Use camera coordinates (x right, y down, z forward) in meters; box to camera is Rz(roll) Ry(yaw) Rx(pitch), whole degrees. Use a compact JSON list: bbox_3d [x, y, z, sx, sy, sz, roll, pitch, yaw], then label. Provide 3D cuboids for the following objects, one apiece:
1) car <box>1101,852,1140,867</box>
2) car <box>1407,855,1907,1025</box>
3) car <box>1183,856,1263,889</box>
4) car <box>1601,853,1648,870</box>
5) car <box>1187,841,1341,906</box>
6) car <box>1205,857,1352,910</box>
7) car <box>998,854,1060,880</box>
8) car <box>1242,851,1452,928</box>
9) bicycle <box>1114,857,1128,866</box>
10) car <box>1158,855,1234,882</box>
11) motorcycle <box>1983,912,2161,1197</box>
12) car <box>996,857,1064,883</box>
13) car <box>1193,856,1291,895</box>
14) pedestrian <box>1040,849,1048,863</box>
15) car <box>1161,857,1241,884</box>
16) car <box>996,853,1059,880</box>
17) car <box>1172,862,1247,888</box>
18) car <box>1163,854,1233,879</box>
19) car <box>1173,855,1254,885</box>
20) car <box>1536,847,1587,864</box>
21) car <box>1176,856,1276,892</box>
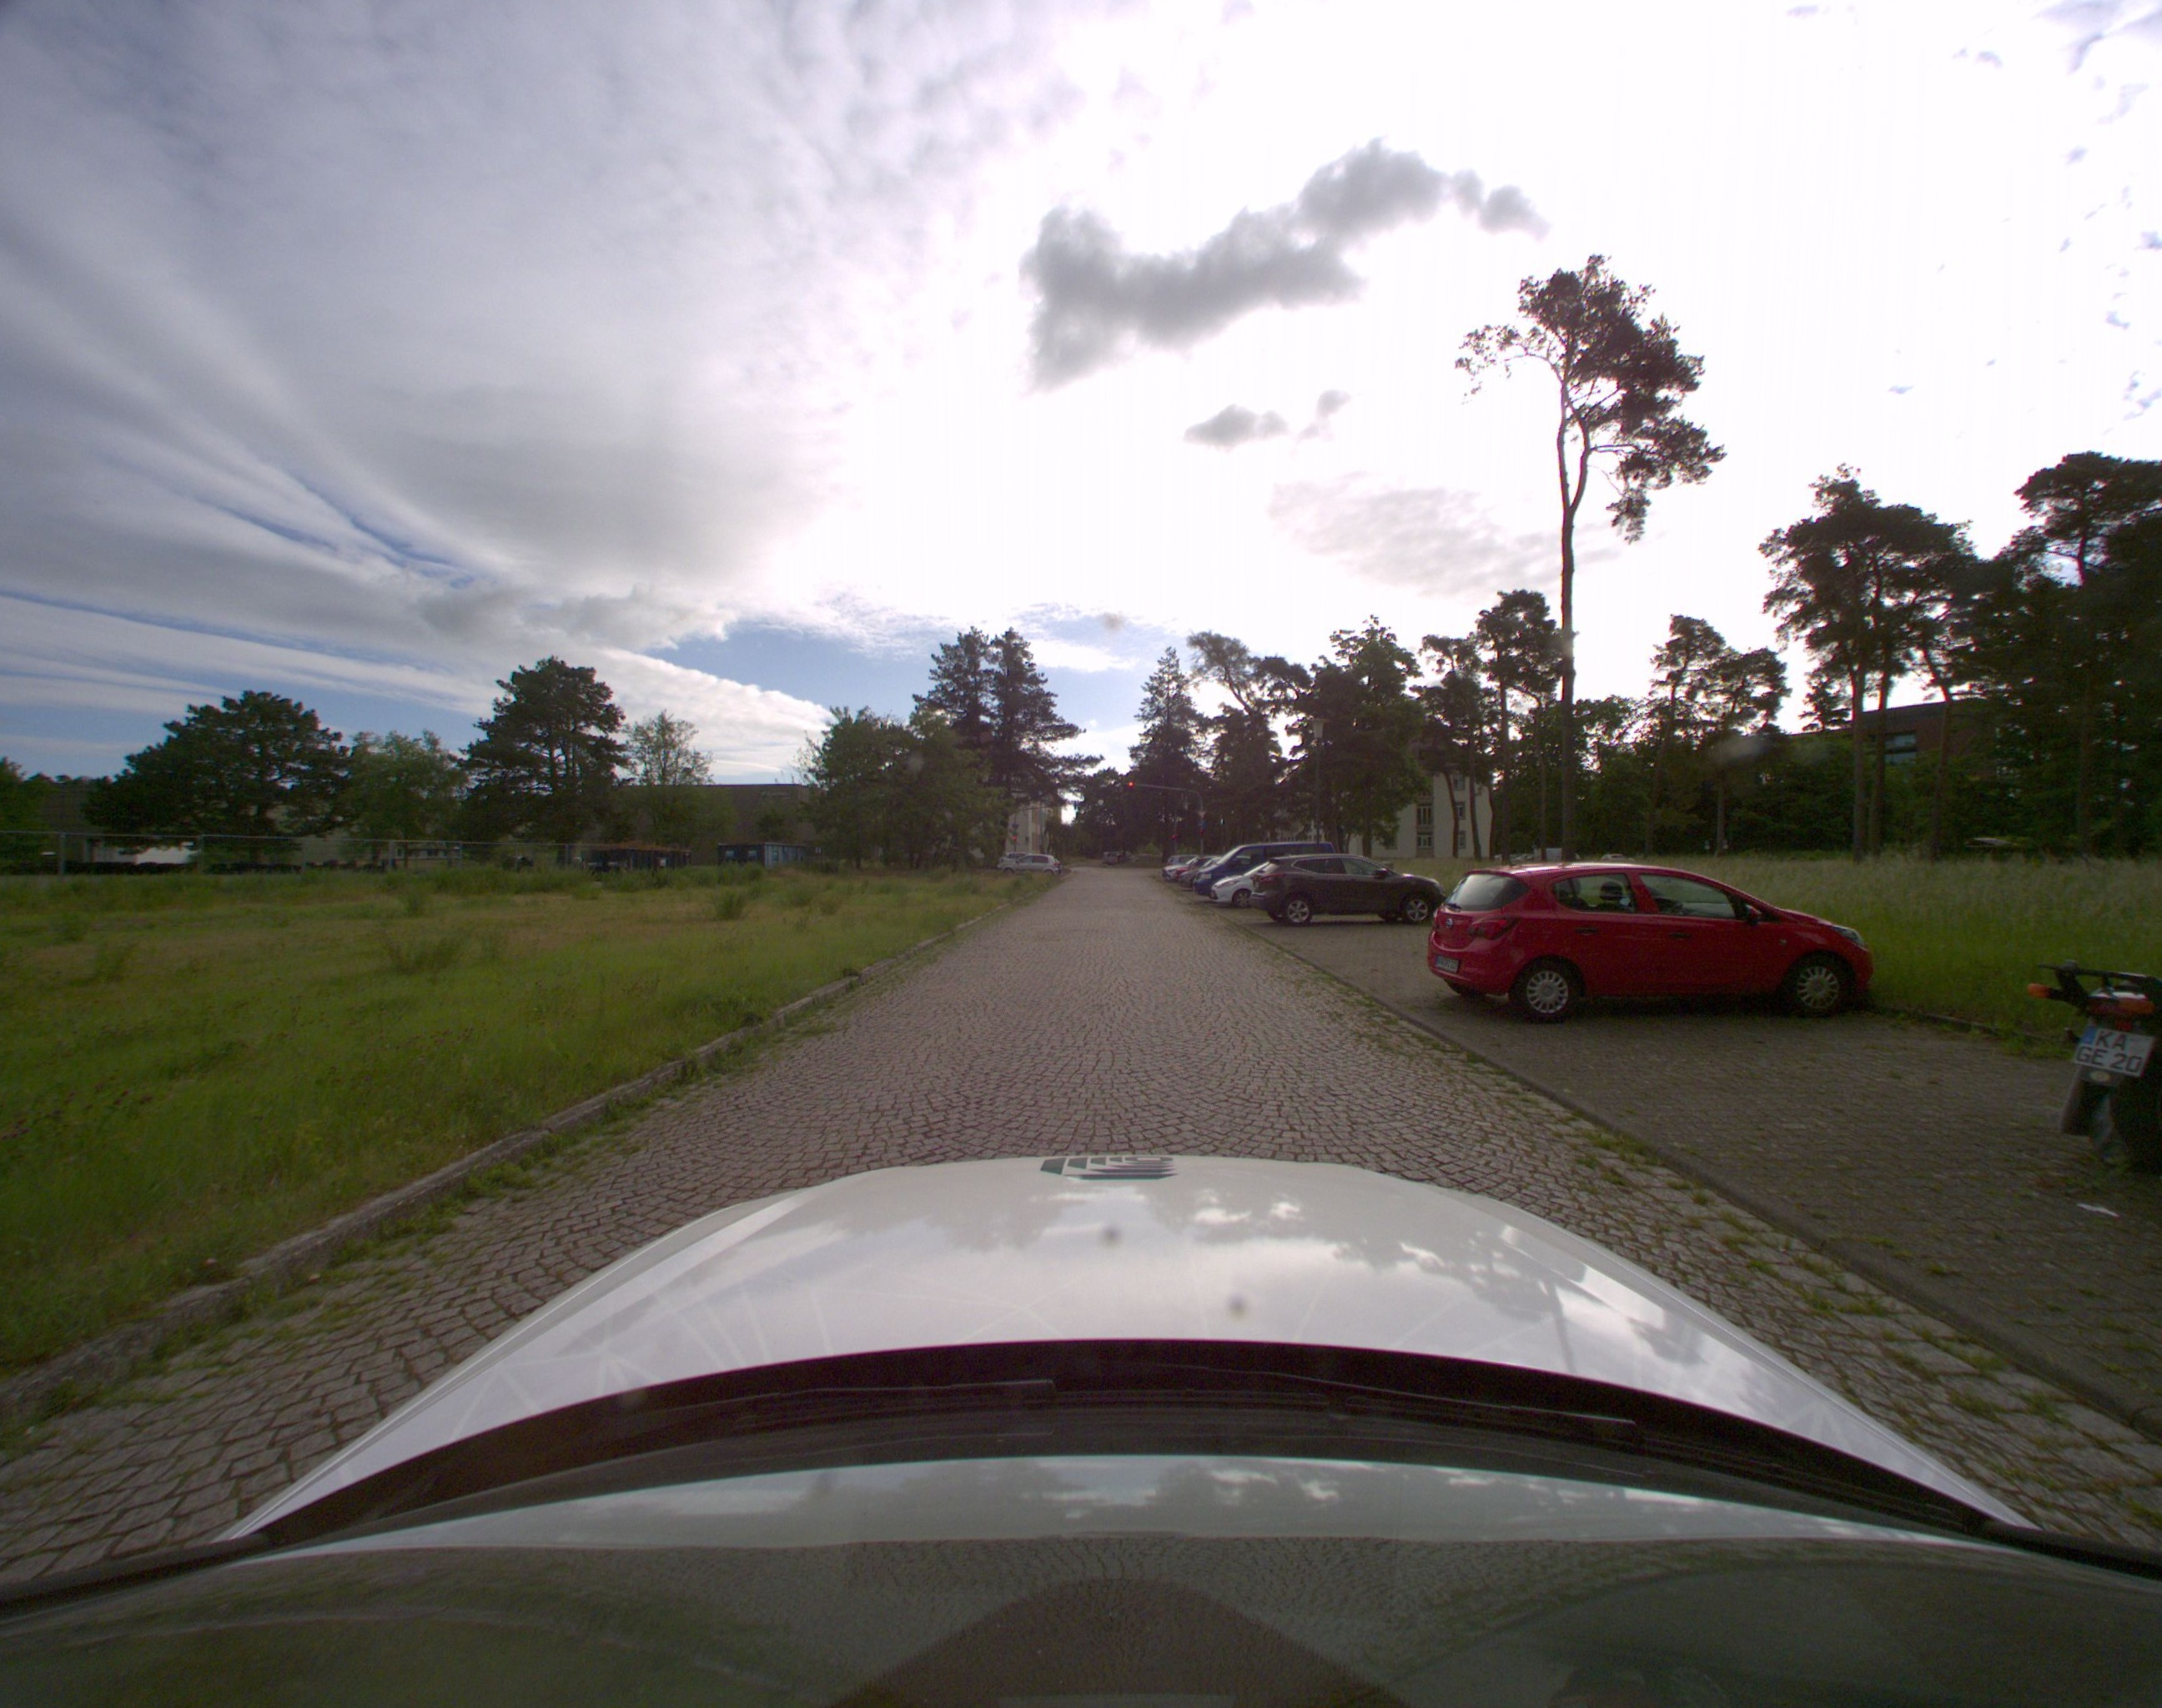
[{"bbox_3d":[5.732,0.833,118.344,5.377,2.101,2.171,0,0,-11],"label":"car"},{"bbox_3d":[5.675,0.793,8.410,3.910,1.496,1.785,-1,0,0],"label":"car"},{"bbox_3d":[6.714,0.858,38.694,3.492,1.487,1.743,-1,0,1],"label":"car"},{"bbox_3d":[61.649,0.837,92.434,4.115,1.804,1.902,1,0,3],"label":"car"},{"bbox_3d":[6.122,0.634,27.620,4.780,2.004,1.966,-1,0,0],"label":"car"},{"bbox_3d":[6.010,0.876,25.075,4.086,1.479,1.721,-1,0,-2],"label":"car"},{"bbox_3d":[-3.198,0.785,50.655,3.710,1.481,1.672,2,0,-1],"label":"car"},{"bbox_3d":[5.986,0.771,18.715,4.190,1.595,1.953,-1,0,-1],"label":"car"},{"bbox_3d":[5.255,1.002,107.038,1.877,1.171,0.664,1,-1,-4],"label":"bicycle"},{"bbox_3d":[6.861,0.858,48.794,4.227,1.479,1.704,-1,0,-9],"label":"car"},{"bbox_3d":[5.756,0.894,3.911,2.223,1.202,0.568,-1,0,-1],"label":"motorcycle"},{"bbox_3d":[-3.333,1.026,53.255,4.290,1.554,1.809,-1,0,-4],"label":"car"},{"bbox_3d":[6.444,0.853,32.924,3.640,1.479,1.766,-1,0,1],"label":"car"},{"bbox_3d":[-5.295,0.309,116.307,1.070,1.959,1.122,1,-1,2],"label":"pedestrian"},{"bbox_3d":[6.744,0.906,46.028,4.179,1.437,1.752,-1,0,-6],"label":"car"},{"bbox_3d":[-3.667,0.870,56.071,4.289,1.732,1.650,-1,0,-4],"label":"car"},{"bbox_3d":[6.487,1.044,41.326,3.572,1.223,1.630,-1,0,3],"label":"car"},{"bbox_3d":[7.355,0.801,51.338,4.126,1.463,1.631,-1,0,-4],"label":"car"},{"bbox_3d":[7.068,0.837,43.657,4.092,1.476,1.684,-1,0,0],"label":"car"},{"bbox_3d":[60.874,0.175,103.196,5.279,2.019,2.107,1,0,2],"label":"car"},{"bbox_3d":[6.310,0.850,35.834,4.114,1.447,1.766,-1,0,2],"label":"car"}]
